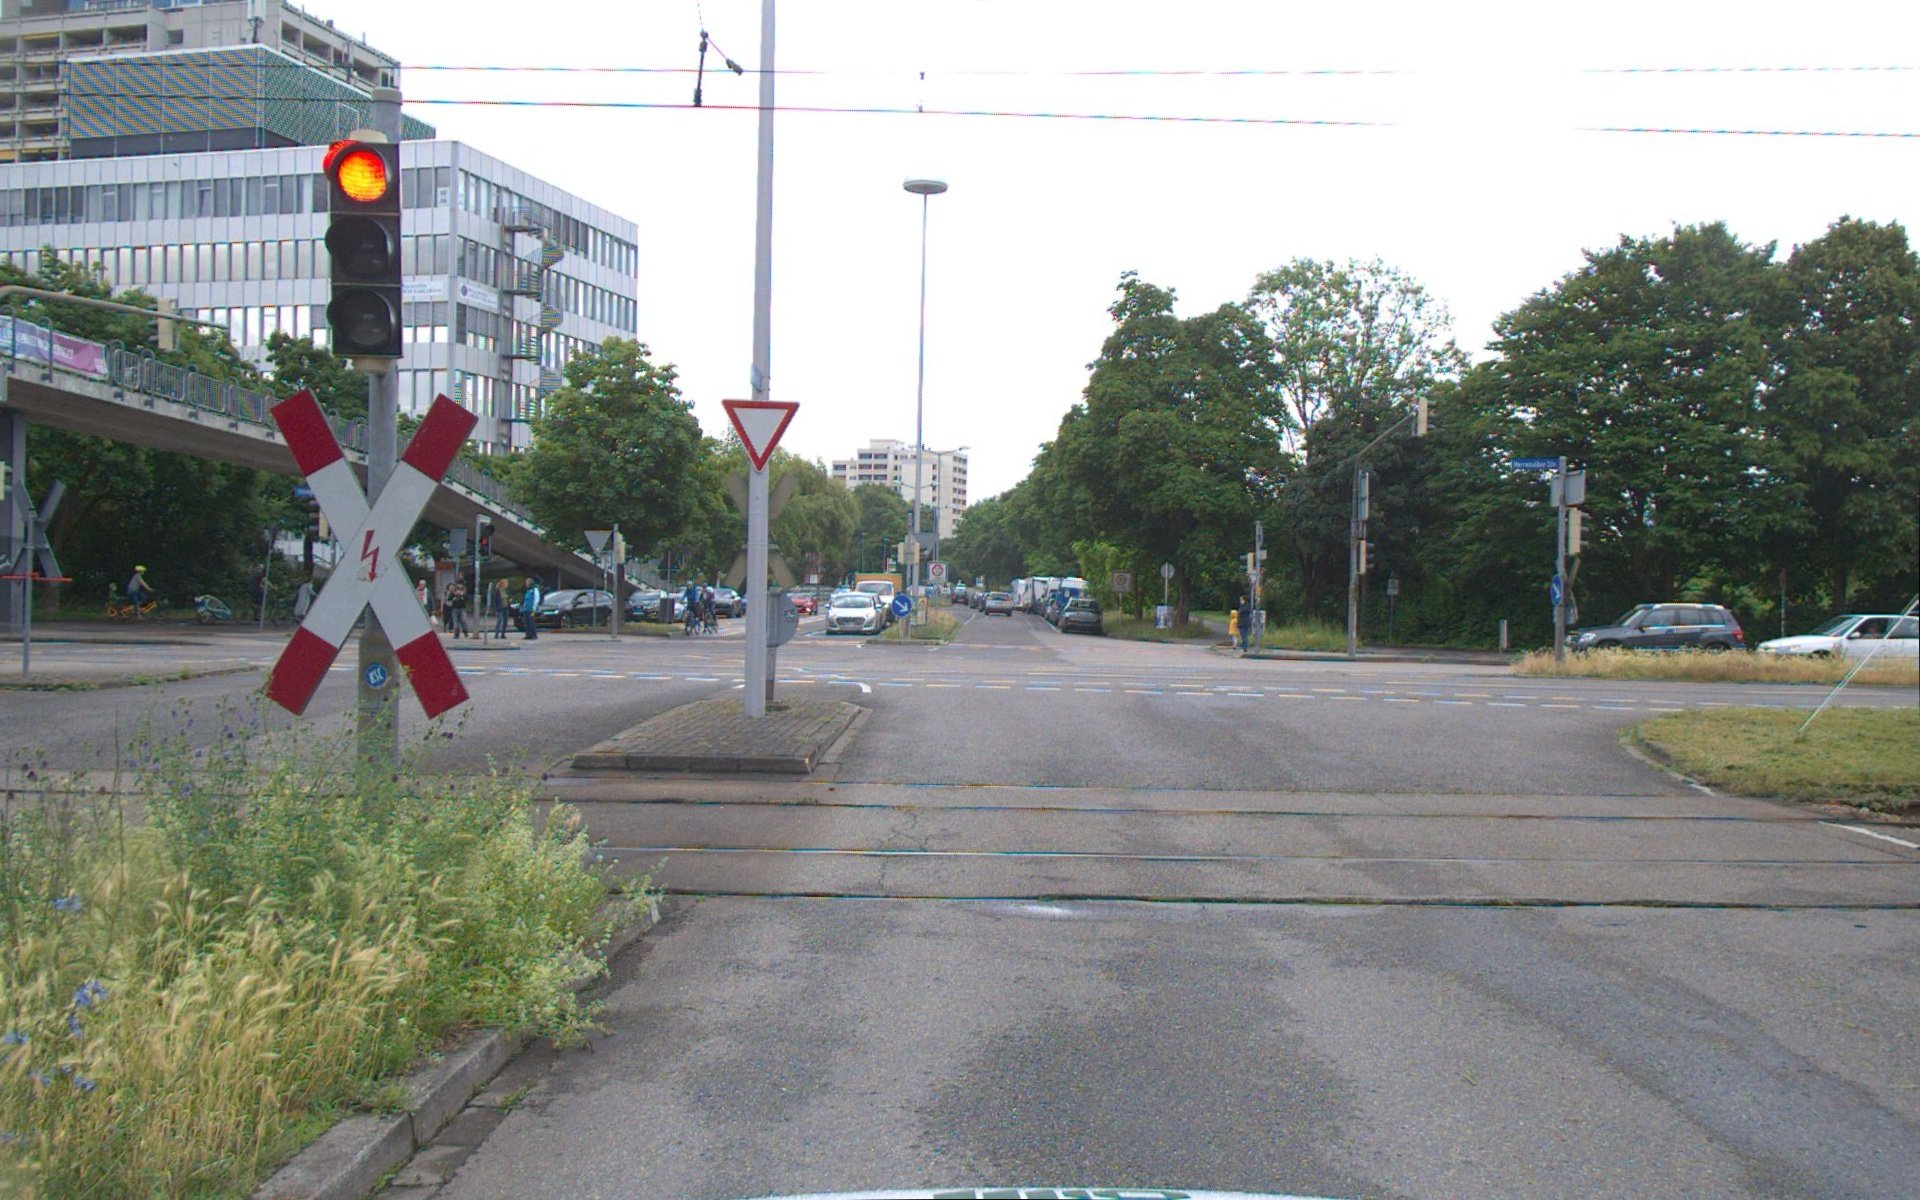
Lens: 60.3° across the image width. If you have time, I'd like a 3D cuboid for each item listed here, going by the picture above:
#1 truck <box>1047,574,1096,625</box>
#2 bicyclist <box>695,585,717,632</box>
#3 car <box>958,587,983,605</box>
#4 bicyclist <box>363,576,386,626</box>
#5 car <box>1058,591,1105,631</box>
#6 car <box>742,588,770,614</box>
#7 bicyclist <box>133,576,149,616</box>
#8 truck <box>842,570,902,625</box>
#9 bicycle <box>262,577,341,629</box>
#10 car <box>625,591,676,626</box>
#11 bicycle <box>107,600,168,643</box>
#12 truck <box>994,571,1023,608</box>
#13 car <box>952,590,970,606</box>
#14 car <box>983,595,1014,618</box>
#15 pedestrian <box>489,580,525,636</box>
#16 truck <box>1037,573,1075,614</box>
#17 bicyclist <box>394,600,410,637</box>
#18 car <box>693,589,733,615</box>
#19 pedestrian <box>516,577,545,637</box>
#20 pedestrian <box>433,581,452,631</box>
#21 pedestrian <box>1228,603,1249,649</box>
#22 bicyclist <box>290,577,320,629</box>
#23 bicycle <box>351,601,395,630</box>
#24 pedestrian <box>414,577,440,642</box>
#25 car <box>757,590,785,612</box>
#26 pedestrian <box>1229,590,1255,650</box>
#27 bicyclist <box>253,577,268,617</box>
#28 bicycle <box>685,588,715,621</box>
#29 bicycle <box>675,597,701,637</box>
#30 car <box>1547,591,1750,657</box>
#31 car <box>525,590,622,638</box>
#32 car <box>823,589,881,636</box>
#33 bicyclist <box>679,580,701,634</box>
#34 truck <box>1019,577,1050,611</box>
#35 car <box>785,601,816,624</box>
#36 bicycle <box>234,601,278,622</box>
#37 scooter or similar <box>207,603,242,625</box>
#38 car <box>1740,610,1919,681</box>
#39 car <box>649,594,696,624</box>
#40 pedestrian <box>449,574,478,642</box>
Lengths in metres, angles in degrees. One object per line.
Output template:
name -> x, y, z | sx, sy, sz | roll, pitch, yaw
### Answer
truck -> 6.083, 0.003, 90.805 | 2.130, 2.703, 6.245 | 0, 0, -1
bicyclist -> -8.942, 0.310, 58.272 | 0.665, 1.622, 0.695 | 1, -1, -1
car -> 0.880, -0.368, 141.630 | 1.979, 1.531, 3.999 | 1, 0, -1
bicyclist -> -19.888, 0.034, 56.189 | 0.553, 1.673, 0.531 | 1, -1, 0
car -> 5.397, 0.468, 73.996 | 1.747, 1.691, 3.999 | 1, 0, -1
car -> -13.204, 0.048, 107.172 | 1.415, 1.579, 3.663 | 1, 0, -1
bicyclist -> -26.075, -0.128, 52.641 | 0.399, 1.275, 0.275 | 1, 0, -21
truck -> -3.763, -0.134, 71.820 | 2.111, 2.237, 5.841 | 1, 0, 1
bicycle -> -21.324, 0.092, 53.595 | 2.345, 1.653, 0.520 | 1, 0, -42
car -> -14.452, 0.385, 77.411 | 1.637, 1.579, 3.892 | 1, 0, 0
bicycle -> -26.173, 0.687, 52.647 | 1.681, 1.327, 0.386 | 1, 0, -22
truck -> 4.183, -0.901, 142.993 | 1.954, 3.061, 5.767 | 1, 0, -4
car -> 0.083, -0.207, 162.869 | 1.523, 1.531, 3.997 | 1, 0, -4
car -> 2.686, 0.439, 115.214 | 1.979, 1.531, 3.999 | 1, 0, -1
pedestrian -> -12.497, 0.217, 45.646 | 0.901, 1.537, 0.403 | 1, 0, -12
truck -> 6.917, -0.472, 120.167 | 1.954, 2.888, 5.726 | 1, 0, -4
bicyclist -> -18.475, 0.614, 54.763 | 0.396, 1.202, 0.377 | 1, 1, 1
car -> -14.161, 0.104, 94.932 | 1.727, 1.419, 3.999 | 1, 0, -1
pedestrian -> -11.847, 0.185, 45.613 | 0.673, 1.633, 0.487 | 1, 0, -5
pedestrian -> -16.851, 0.198, 53.870 | 0.570, 1.607, 0.777 | 1, 0, -19
pedestrian -> 8.407, 0.791, 50.013 | 0.516, 1.365, 0.525 | 1, 0, -1
bicyclist -> -21.271, 0.093, 53.687 | 0.744, 1.653, 0.519 | 1, 0, -43
bicycle -> -19.892, 0.510, 56.084 | 0.618, 0.941, 2.523 | 1, 1, -1
pedestrian -> -14.369, 0.252, 44.579 | 0.608, 1.721, 0.404 | 1, 0, -15
car -> -14.289, 0.047, 125.299 | 1.637, 1.579, 4.000 | 1, 0, 0
pedestrian -> 8.414, 0.585, 49.332 | 0.643, 1.780, 0.459 | 1, 0, -1
bicyclist -> -23.165, -0.093, 54.767 | 0.380, 1.326, 0.275 | 1, 0, -38
bicycle -> -9.018, 0.154, 57.458 | 0.712, 1.120, 2.264 | 1, 0, -1
bicycle -> -9.022, 0.556, 54.901 | 0.532, 1.289, 2.110 | 1, 0, -1
car -> 17.460, 0.592, 42.081 | 4.373, 1.530, 1.846 | 1, 0, 0
car -> -13.300, 0.465, 57.128 | 1.636, 1.579, 4.003 | 1, 0, 13
car -> -3.744, 0.396, 57.868 | 1.753, 1.545, 4.325 | 1, 0, -1
bicyclist -> -9.057, 0.232, 55.507 | 0.631, 1.799, 0.646 | 1, 0, -1
truck -> 5.958, -0.431, 132.225 | 1.954, 2.618, 5.375 | 1, 0, -3
car -> -10.220, 0.782, 106.161 | 1.481, 1.414, 3.533 | 1, 0, 2
bicycle -> -23.272, 0.381, 54.687 | 1.283, 0.704, 0.286 | 1, 0, -37
scooter or similar -> -24.039, 0.458, 54.048 | 0.986, 0.727, 0.401 | 1, 0, -36
car -> 18.716, 0.943, 34.552 | 4.052, 1.381, 1.647 | 1, 0, 0
car -> -14.369, 0.428, 82.908 | 1.637, 1.411, 3.895 | 1, 0, 0
pedestrian -> -13.618, 0.214, 45.343 | 0.625, 1.835, 0.800 | 1, 0, -10
